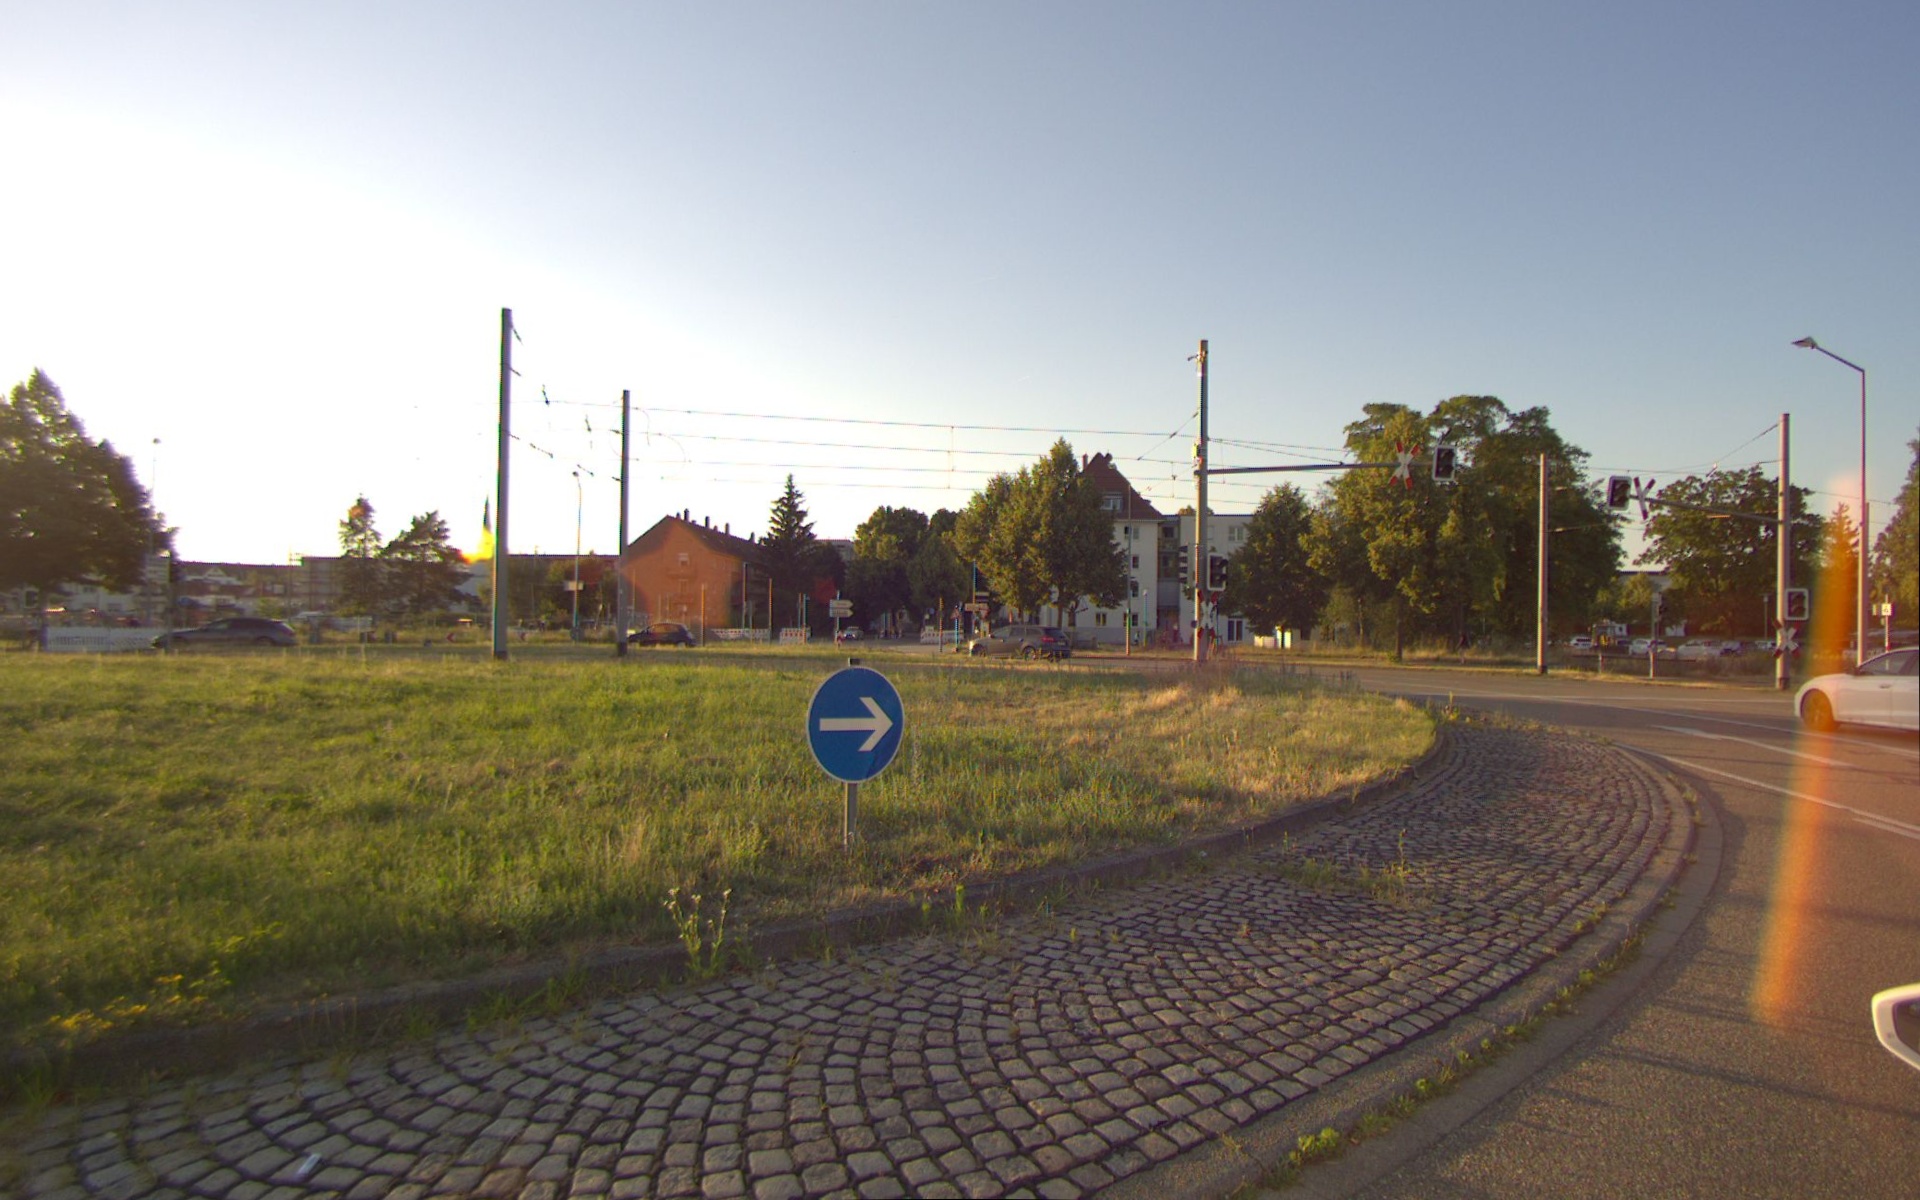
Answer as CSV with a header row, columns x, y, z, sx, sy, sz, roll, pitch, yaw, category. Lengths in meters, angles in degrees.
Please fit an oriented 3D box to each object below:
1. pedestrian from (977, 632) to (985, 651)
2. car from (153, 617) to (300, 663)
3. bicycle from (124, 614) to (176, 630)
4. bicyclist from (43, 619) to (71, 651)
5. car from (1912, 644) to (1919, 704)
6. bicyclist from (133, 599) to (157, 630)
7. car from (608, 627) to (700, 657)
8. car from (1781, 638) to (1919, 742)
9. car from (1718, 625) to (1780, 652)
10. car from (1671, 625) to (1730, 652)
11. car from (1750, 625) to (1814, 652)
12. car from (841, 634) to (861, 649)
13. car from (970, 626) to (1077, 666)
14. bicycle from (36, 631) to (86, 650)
x,y,z,sx,sy,sz,roll,pitch,yaw,category
1.560,3.109,75.760,0.538,1.392,0.357,1,-1,-12,pedestrian
-29.322,1.588,40.338,4.542,1.771,1.738,1,-1,-30,car
-43.461,1.182,53.908,2.102,0.857,0.510,0,-1,-19,bicycle
-46.727,1.794,51.991,0.800,1.662,0.814,0,-1,26,bicyclist
24.151,1.799,22.922,1.523,1.462,3.487,2,-1,0,car
-43.642,0.770,53.776,0.786,1.655,0.693,0,-1,-18,bicyclist
-15.168,2.069,49.904,4.053,1.465,1.752,0,-1,0,car
14.822,1.342,15.011,1.692,1.468,4.552,0,-1,6,car
63.280,3.059,80.661,1.960,2.126,4.001,1,-1,2,car
59.856,3.073,81.237,1.960,2.126,4.001,1,-1,2,car
65.741,3.048,80.446,1.960,2.126,4.001,1,-1,2,car
-11.921,4.536,109.840,1.596,1.506,4.001,1,-1,2,car
2.496,1.798,39.956,4.074,1.486,1.743,-1,-2,41,car
-46.682,2.100,52.165,0.539,0.993,1.842,0,-1,26,bicycle
